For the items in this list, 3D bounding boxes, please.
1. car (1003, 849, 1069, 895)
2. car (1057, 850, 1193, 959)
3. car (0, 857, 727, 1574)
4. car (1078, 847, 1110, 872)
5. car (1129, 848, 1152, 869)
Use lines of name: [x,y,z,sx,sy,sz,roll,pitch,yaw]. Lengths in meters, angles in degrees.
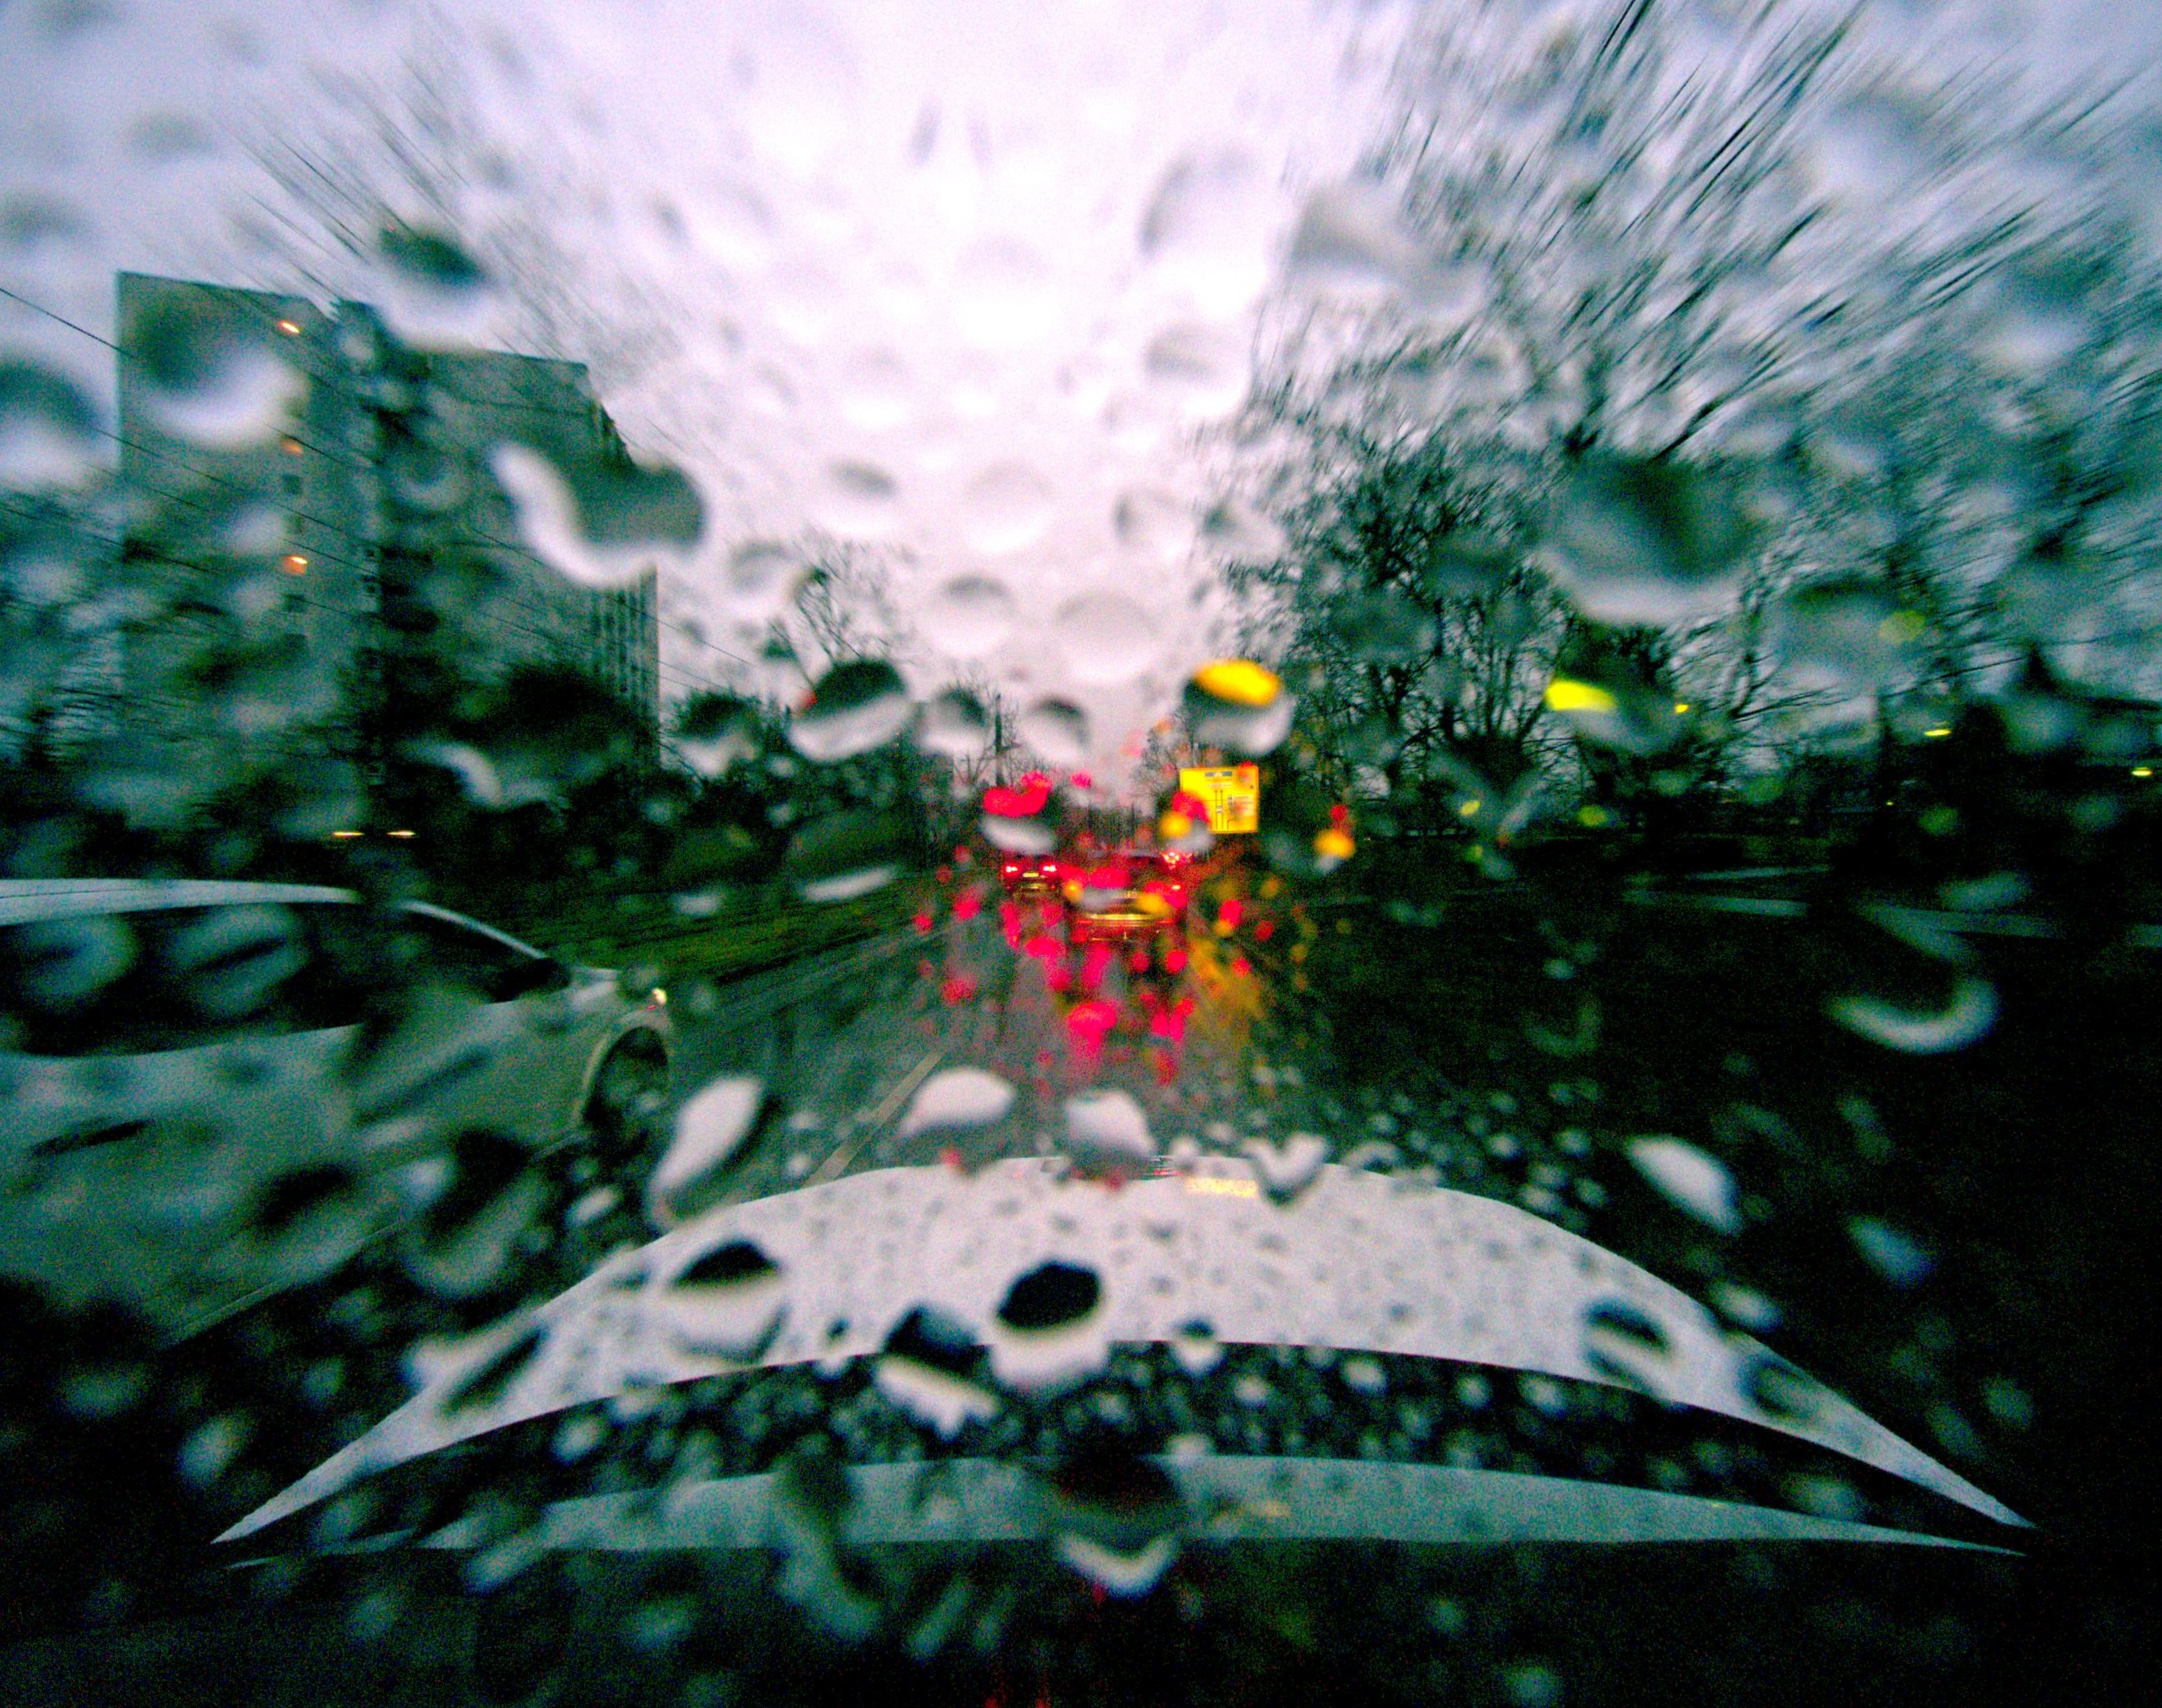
car: [-1.503,0.593,28.793,1.872,1.459,4.003,-1,0,3]
car: [0.679,0.738,14.040,1.991,1.584,4.000,-1,0,1]
car: [-3.139,0.800,3.002,1.702,1.525,4.137,-1,0,2]
car: [0.930,0.319,55.859,1.871,1.593,4.006,-1,0,5]
car: [4.580,0.312,62.688,1.701,1.558,4.001,-1,0,4]
